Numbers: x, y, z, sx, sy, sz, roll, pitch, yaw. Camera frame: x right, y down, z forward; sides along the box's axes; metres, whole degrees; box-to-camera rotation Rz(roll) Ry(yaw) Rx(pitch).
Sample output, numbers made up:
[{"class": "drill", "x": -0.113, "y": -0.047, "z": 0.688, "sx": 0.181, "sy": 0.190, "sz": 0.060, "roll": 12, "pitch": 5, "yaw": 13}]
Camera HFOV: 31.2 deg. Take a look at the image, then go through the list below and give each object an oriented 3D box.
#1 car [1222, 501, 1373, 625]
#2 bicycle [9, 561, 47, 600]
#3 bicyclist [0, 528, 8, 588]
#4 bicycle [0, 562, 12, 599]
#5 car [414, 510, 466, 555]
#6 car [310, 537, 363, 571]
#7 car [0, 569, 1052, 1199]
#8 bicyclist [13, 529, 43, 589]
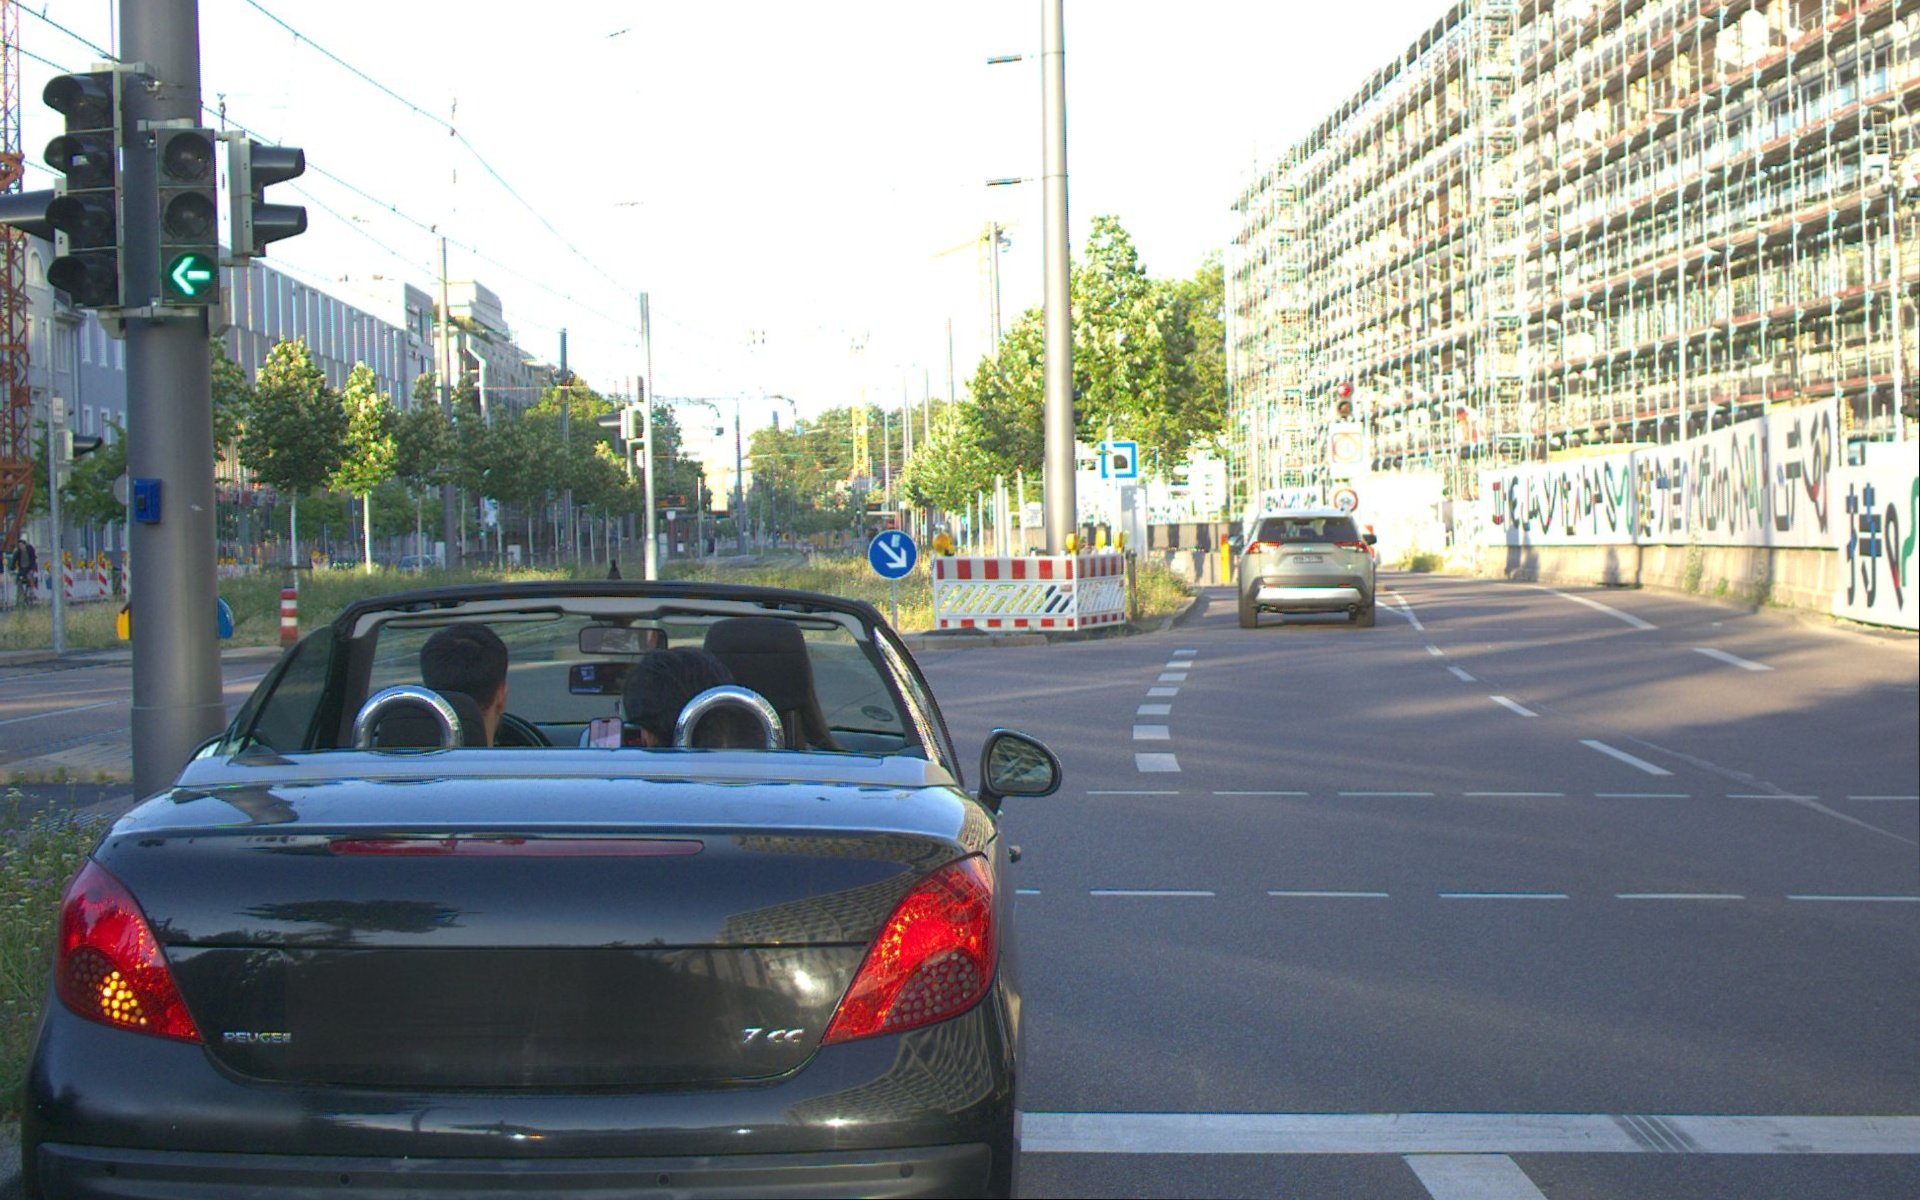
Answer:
[{"class": "car", "x": 4.685, "y": -0.556, "z": 48.212, "sx": 1.834, "sy": 1.666, "sz": 4.282, "roll": 0, "pitch": 2, "yaw": 2}, {"class": "bicycle", "x": -24.493, "y": -0.514, "z": 90.343, "sx": 0.590, "sy": 0.972, "sz": 1.556, "roll": 1, "pitch": 1, "yaw": -1}, {"class": "bicyclist", "x": -25.538, "y": -1.115, "z": 90.393, "sx": 0.772, "sy": 1.565, "sz": 0.793, "roll": 1, "pitch": 1, "yaw": 0}, {"class": "bicycle", "x": -25.549, "y": -0.513, "z": 90.407, "sx": 0.772, "sy": 0.942, "sz": 1.640, "roll": 1, "pitch": 1, "yaw": -1}, {"class": "car", "x": -23.026, "y": -3.002, "z": 152.407, "sx": 1.658, "sy": 1.957, "sz": 4.267, "roll": 1, "pitch": 2, "yaw": 0}, {"class": "car", "x": -27.606, "y": -2.048, "z": 152.334, "sx": 1.658, "sy": 1.426, "sz": 3.895, "roll": 1, "pitch": 2, "yaw": 0}, {"class": "car", "x": -0.732, "y": 0.646, "z": 7.293, "sx": 1.674, "sy": 1.347, "sz": 4.001, "roll": 0, "pitch": 2, "yaw": -1}, {"class": "bicyclist", "x": -24.483, "y": -1.087, "z": 90.330, "sx": 0.590, "sy": 1.564, "sz": 0.711, "roll": 1, "pitch": 1, "yaw": -1}]
